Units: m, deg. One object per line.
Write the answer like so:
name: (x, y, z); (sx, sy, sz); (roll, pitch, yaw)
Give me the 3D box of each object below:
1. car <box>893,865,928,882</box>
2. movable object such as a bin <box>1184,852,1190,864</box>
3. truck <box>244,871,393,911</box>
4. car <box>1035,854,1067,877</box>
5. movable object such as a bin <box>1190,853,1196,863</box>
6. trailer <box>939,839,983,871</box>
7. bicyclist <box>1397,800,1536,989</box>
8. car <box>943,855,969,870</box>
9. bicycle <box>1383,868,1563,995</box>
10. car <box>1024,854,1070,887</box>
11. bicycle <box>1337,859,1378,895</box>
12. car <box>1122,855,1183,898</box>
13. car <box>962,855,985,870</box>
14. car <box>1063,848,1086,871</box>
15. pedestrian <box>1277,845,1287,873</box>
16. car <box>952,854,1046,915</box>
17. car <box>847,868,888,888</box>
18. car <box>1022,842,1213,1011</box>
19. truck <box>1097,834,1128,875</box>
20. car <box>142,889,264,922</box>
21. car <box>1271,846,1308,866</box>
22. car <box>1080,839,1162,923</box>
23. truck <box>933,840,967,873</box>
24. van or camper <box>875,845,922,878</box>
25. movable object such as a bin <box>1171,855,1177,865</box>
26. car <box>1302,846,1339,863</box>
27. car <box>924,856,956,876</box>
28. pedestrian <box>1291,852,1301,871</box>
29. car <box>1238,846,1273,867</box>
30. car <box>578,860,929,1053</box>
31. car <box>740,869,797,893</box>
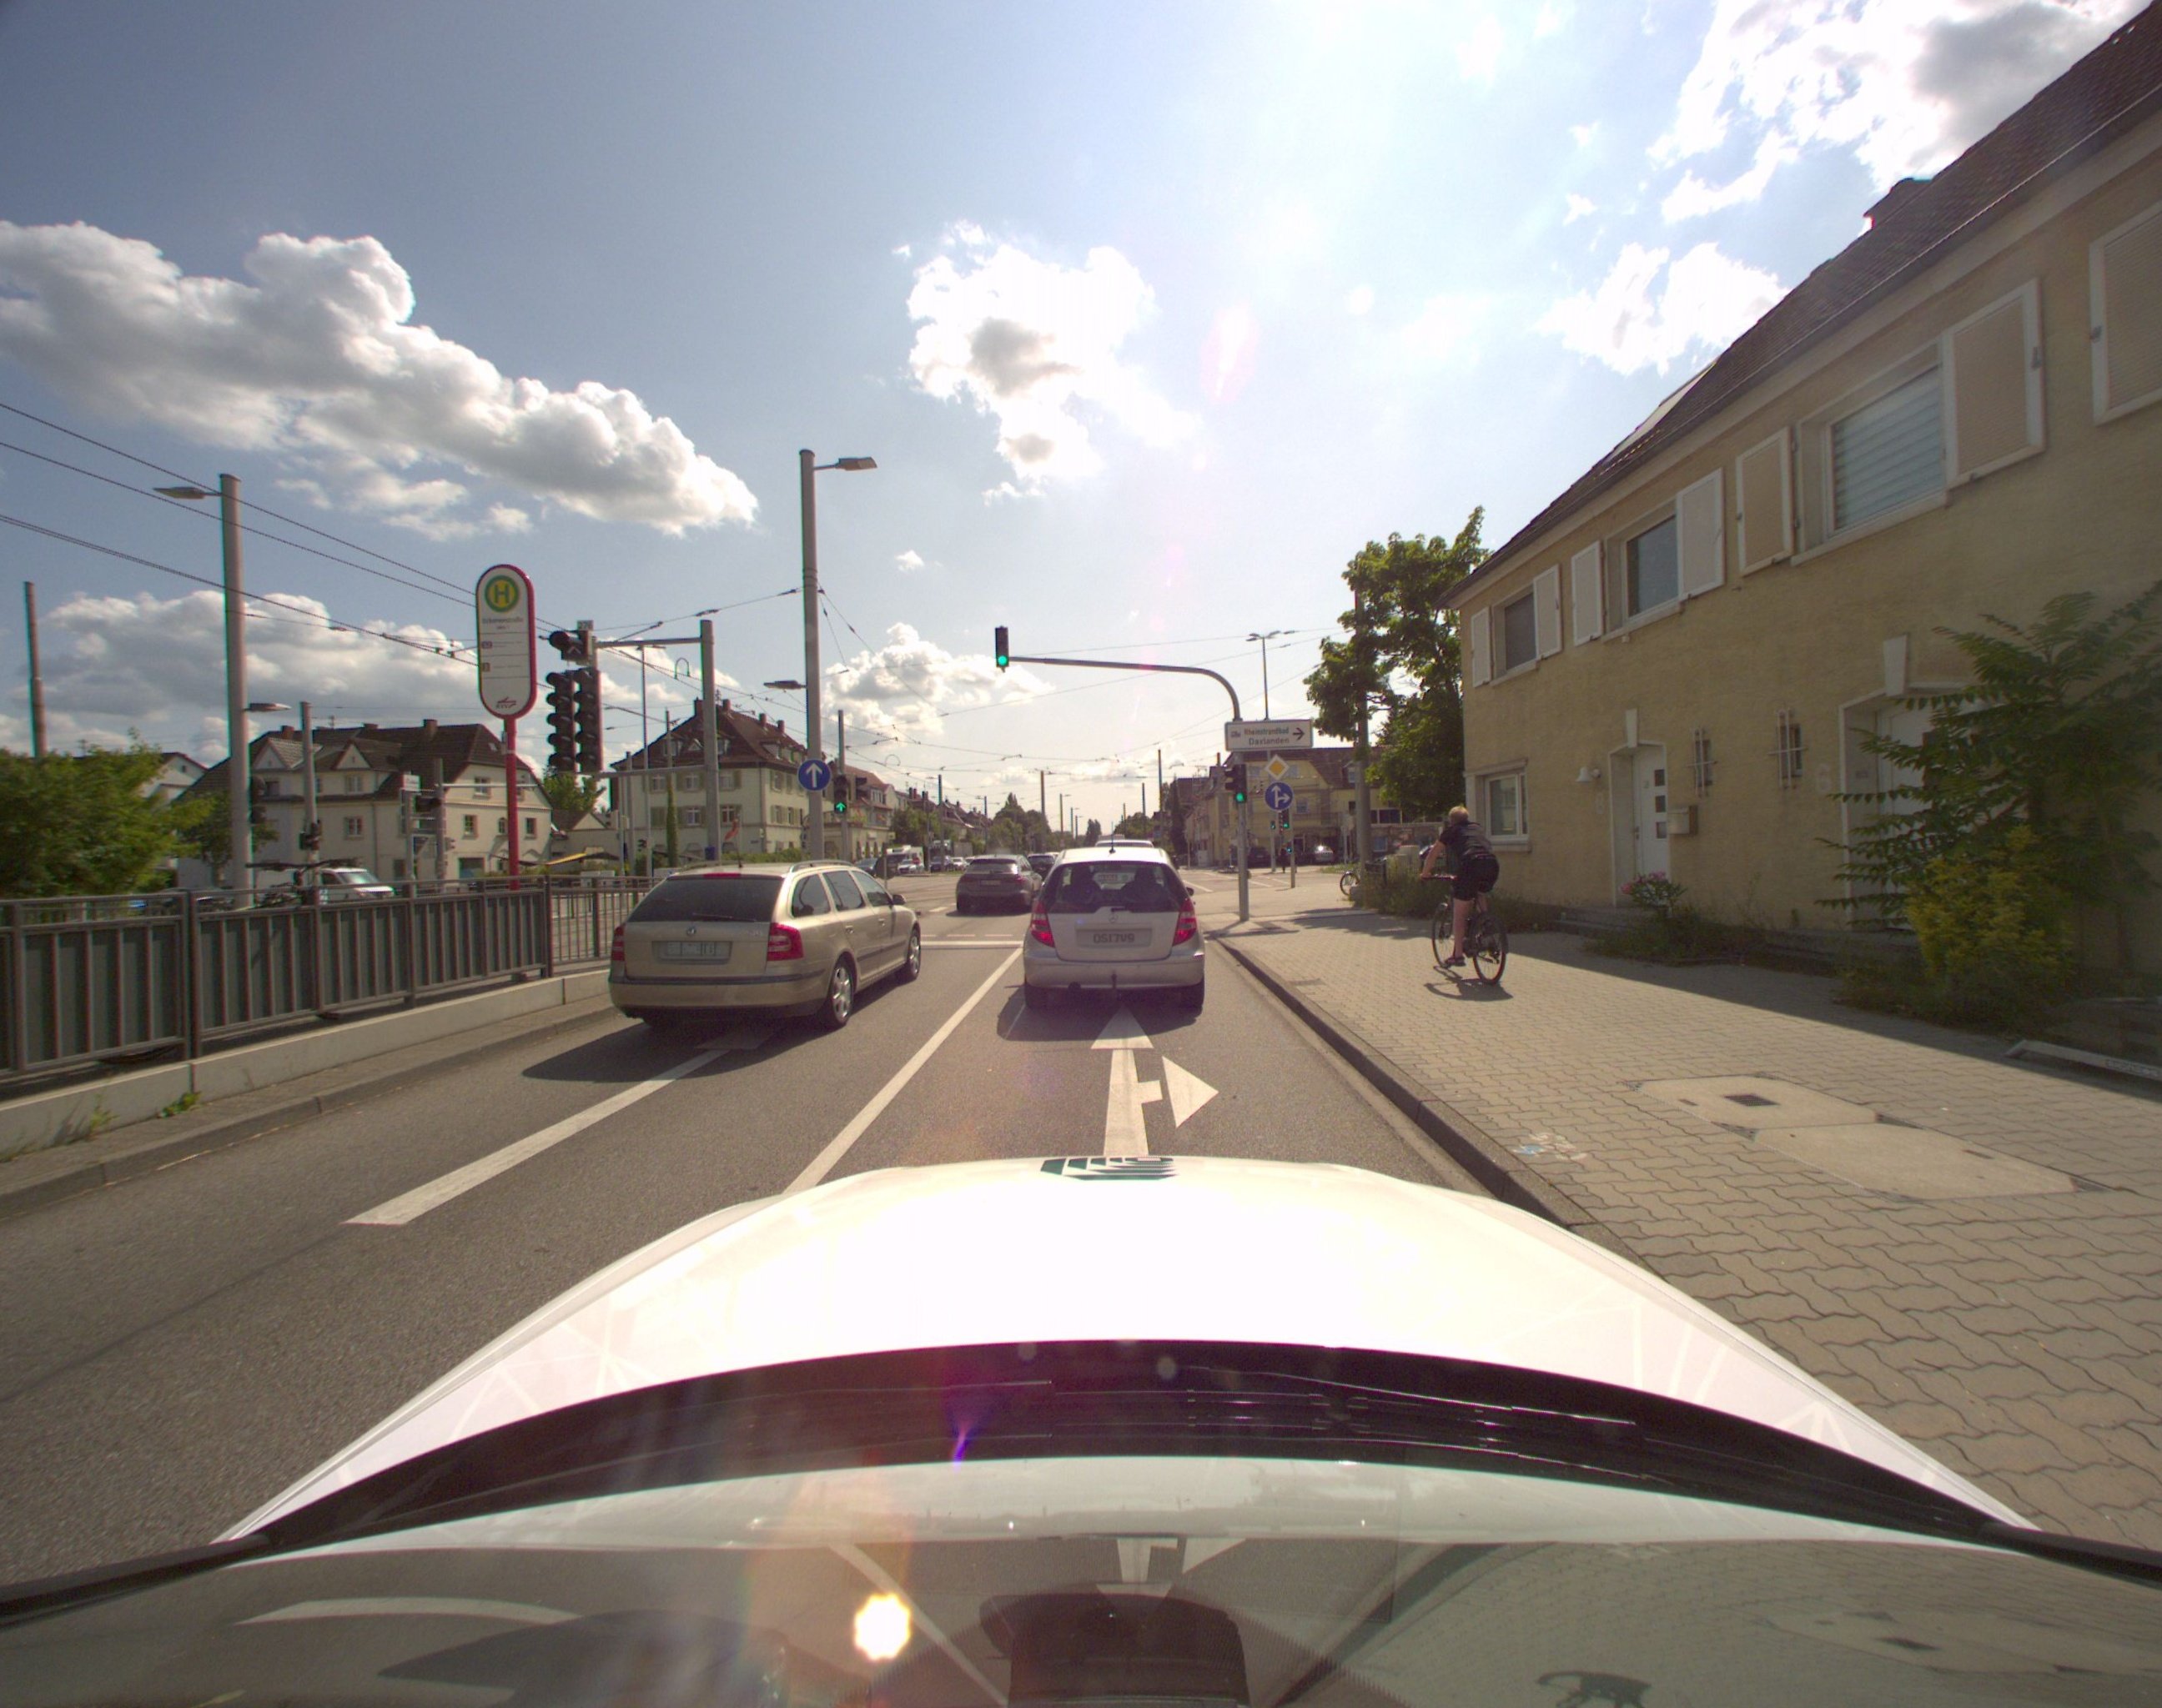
car: (-14.443, 1.663, 69.176); (1.986, 1.351, 4.180); (0, -1, 2)
movable object such as a bin: (9.812, 0.407, 75.441); (0.509, 1.105, 0.855); (-1, -1, 2)
truck: (-38.105, 1.834, 40.757); (6.157, 1.922, 1.692); (0, -1, 4)
car: (-1.887, 0.738, 51.933); (1.846, 1.388, 3.918); (0, -1, 0)
movable object such as a bin: (11.125, 0.413, 81.065); (0.466, 0.946, 0.558); (-2, -1, 2)
trailer: (-15.565, 0.008, 106.778); (2.587, 3.821, 12.852); (-4, 0, 4)
bicyclist: (3.972, 0.390, 8.491); (0.826, 1.793, 1.083); (-3, 0, -2)
car: (-13.899, 0.942, 90.639); (1.986, 1.552, 4.180); (-5, -1, 2)
bicycle: (3.982, 0.728, 8.492); (0.826, 1.075, 1.969); (-3, 0, -2)
car: (-1.492, 0.710, 36.785); (1.846, 1.388, 4.514); (0, -1, 0)
bicycle: (8.000, 0.654, 23.540); (0.457, 1.018, 1.767); (-1, -1, 41)
car: (2.590, 0.755, 28.794); (1.719, 1.404, 4.028); (-1, -1, 11)
car: (-13.126, 1.013, 99.685); (1.786, 1.637, 4.476); (-3, -1, 4)
car: (-0.550, 0.461, 68.311); (1.846, 1.843, 3.918); (0, -1, 0)
pedestrian: (11.856, 0.301, 48.076); (0.544, 1.643, 0.402); (0, -1, 6)
car: (-2.107, 0.755, 22.182); (1.909, 1.477, 4.565); (0, 0, 2)
car: (-15.247, 1.714, 58.476); (1.677, 1.351, 4.180); (0, -1, 2)
car: (0.325, 0.678, 9.390); (1.724, 1.517, 4.015); (0, -1, 0)
truck: (1.990, 0.040, 53.444); (1.846, 2.552, 5.854); (0, -1, 0)
car: (-44.395, 2.598, 41.249); (4.145, 1.552, 2.002); (-1, -1, 4)
car: (16.531, 0.176, 64.671); (1.986, 1.596, 4.133); (0, -1, 2)
car: (0.854, 0.594, 19.306); (1.724, 1.762, 4.015); (0, -1, 0)
truck: (-16.042, 0.266, 100.204); (2.587, 3.821, 5.675); (-4, 0, 5)
van or camper: (-17.587, 0.699, 78.961); (2.315, 2.930, 7.759); (-2, 0, 2)
movable object such as a bin: (8.605, 0.558, 75.363); (0.509, 0.918, 0.742); (-1, -1, 2)
car: (18.981, 0.058, 64.740); (1.860, 1.351, 4.133); (0, -1, 2)
car: (-14.029, 1.180, 81.287); (1.984, 1.776, 4.884); (-3, 0, 4)
pedestrian: (12.690, 0.457, 48.028); (0.485, 1.136, 0.389); (0, -1, 8)
car: (13.770, 0.229, 64.527); (1.986, 1.596, 4.133); (0, -1, 2)
car: (-2.863, 0.795, 8.210); (1.724, 1.449, 4.125); (0, -1, 2)
car: (-19.123, 1.653, 50.070); (1.677, 1.351, 4.347); (0, -1, 2)
